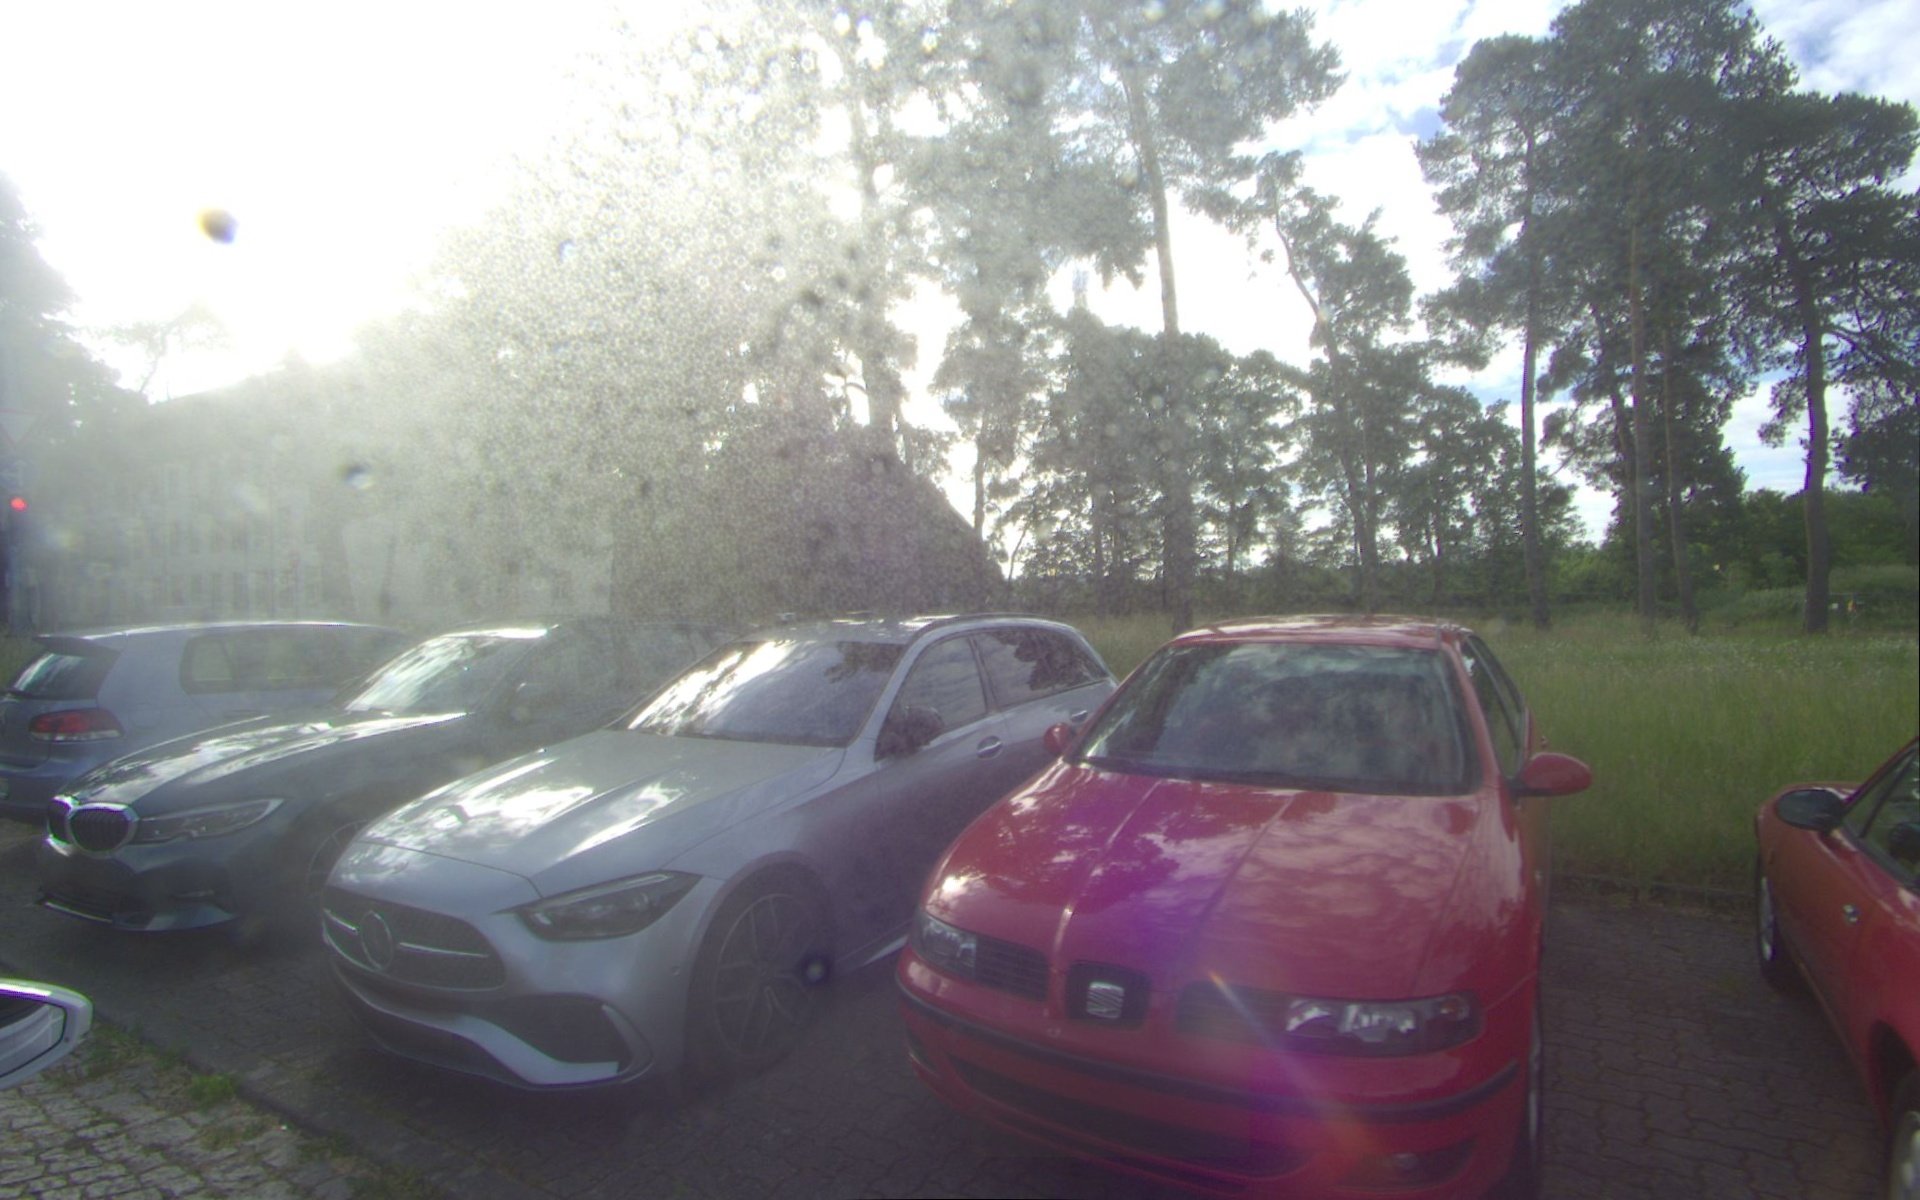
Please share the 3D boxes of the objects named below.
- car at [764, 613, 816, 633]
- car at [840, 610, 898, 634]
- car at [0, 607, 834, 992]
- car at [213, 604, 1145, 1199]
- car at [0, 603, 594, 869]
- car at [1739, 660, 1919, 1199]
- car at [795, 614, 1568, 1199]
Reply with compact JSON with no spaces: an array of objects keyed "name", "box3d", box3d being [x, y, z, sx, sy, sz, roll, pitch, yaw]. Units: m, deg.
[{"name":"car","box3d":[-12.708,1.748,75.001,1.541,1.415,3.982,-1,-3,32]},{"name":"car","box3d":[-6.325,1.503,69.641,3.923,1.622,1.999,0,0,-5]},{"name":"car","box3d":[-2.862,0.803,6.337,1.780,1.503,4.508,0,0,29]},{"name":"car","box3d":[-0.690,0.776,4.822,1.741,1.448,4.318,0,0,31]},{"name":"car","box3d":[-4.982,0.794,7.797,1.618,1.490,3.835,0,0,31]},{"name":"car","box3d":[3.012,0.877,2.351,1.586,1.303,3.537,-2,-1,34]},{"name":"car","box3d":[1.366,0.793,3.952,1.695,1.442,4.099,0,0,32]}]
